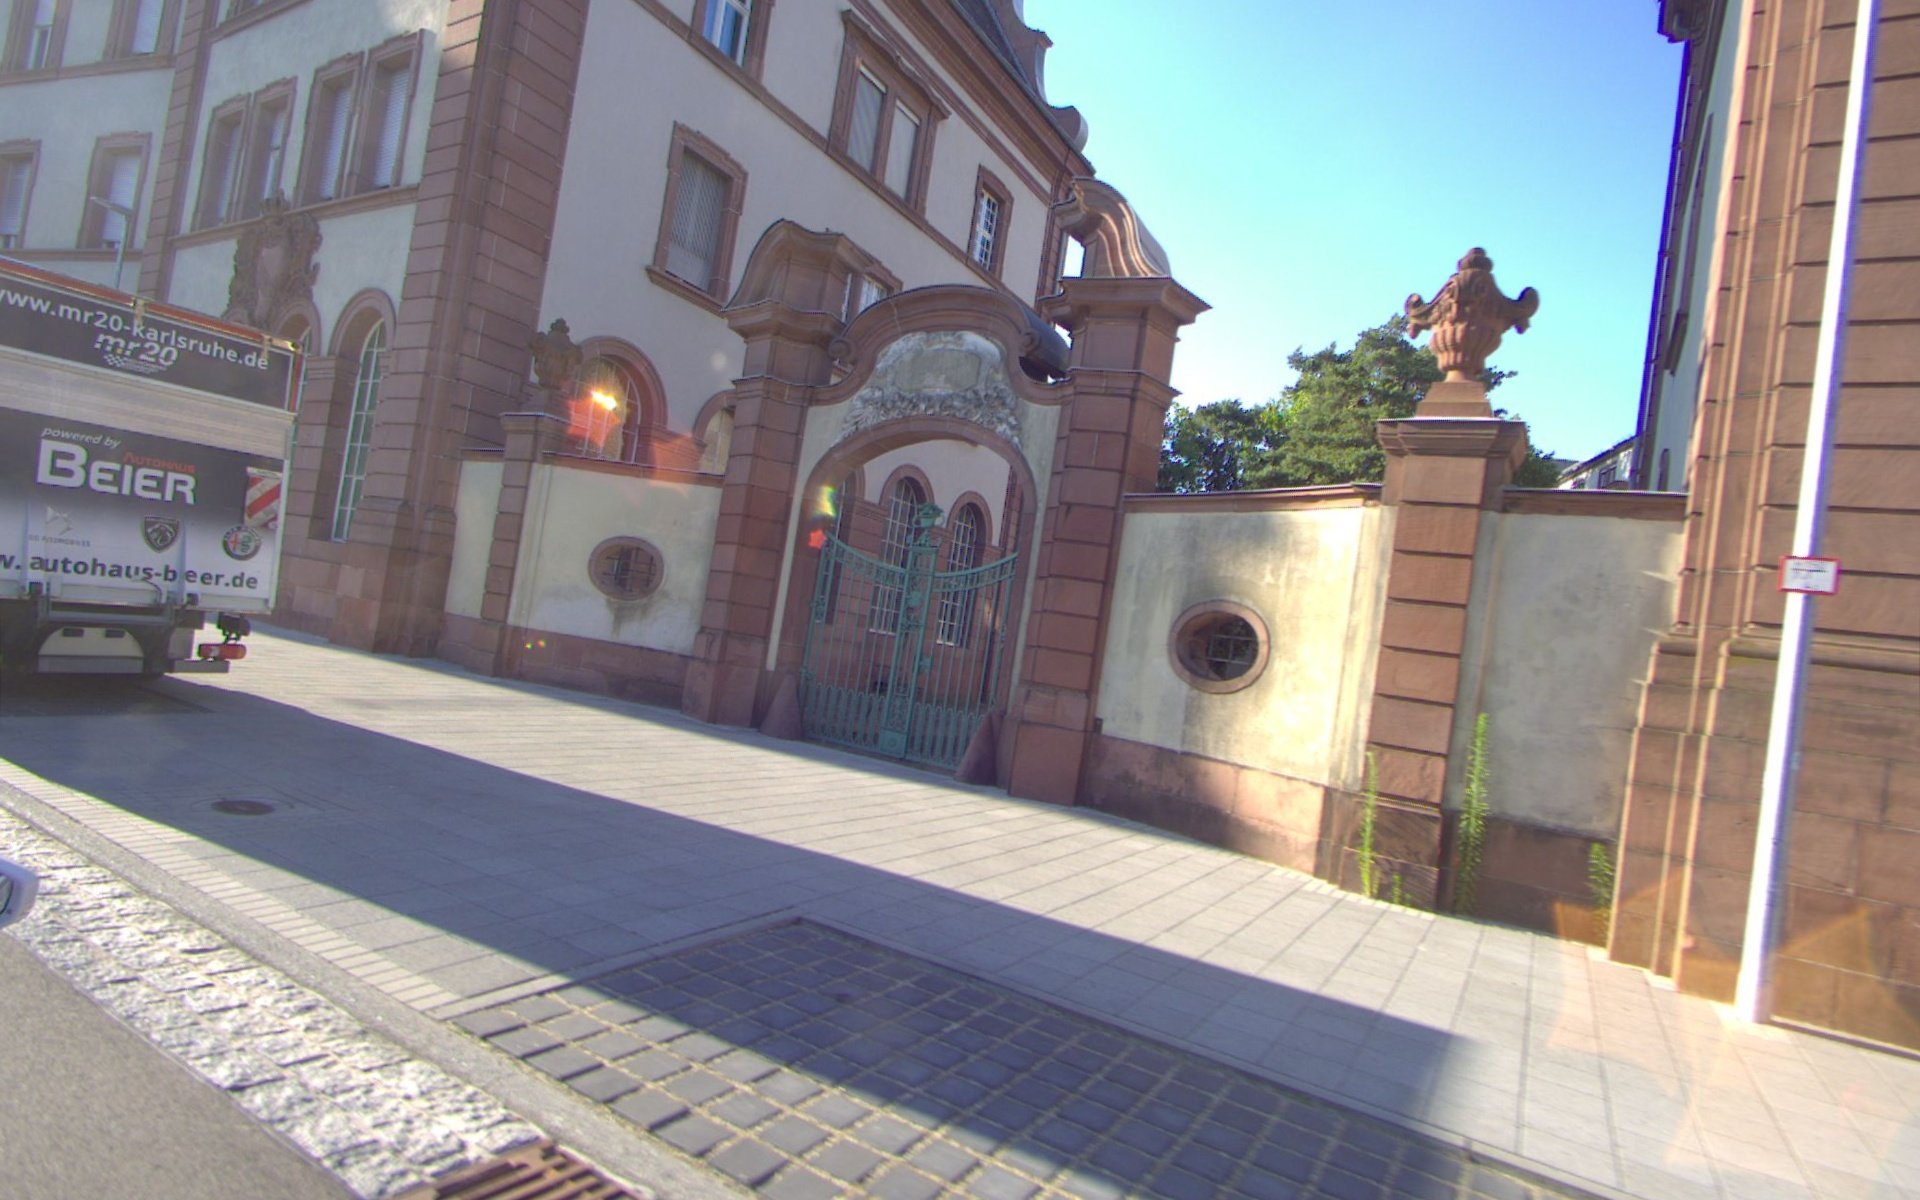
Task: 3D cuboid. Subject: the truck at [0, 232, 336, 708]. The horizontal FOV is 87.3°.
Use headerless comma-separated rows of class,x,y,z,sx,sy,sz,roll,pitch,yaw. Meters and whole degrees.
truck,-8.713,-1.112,8.808,5.982,3.158,2.630,7,-1,28
